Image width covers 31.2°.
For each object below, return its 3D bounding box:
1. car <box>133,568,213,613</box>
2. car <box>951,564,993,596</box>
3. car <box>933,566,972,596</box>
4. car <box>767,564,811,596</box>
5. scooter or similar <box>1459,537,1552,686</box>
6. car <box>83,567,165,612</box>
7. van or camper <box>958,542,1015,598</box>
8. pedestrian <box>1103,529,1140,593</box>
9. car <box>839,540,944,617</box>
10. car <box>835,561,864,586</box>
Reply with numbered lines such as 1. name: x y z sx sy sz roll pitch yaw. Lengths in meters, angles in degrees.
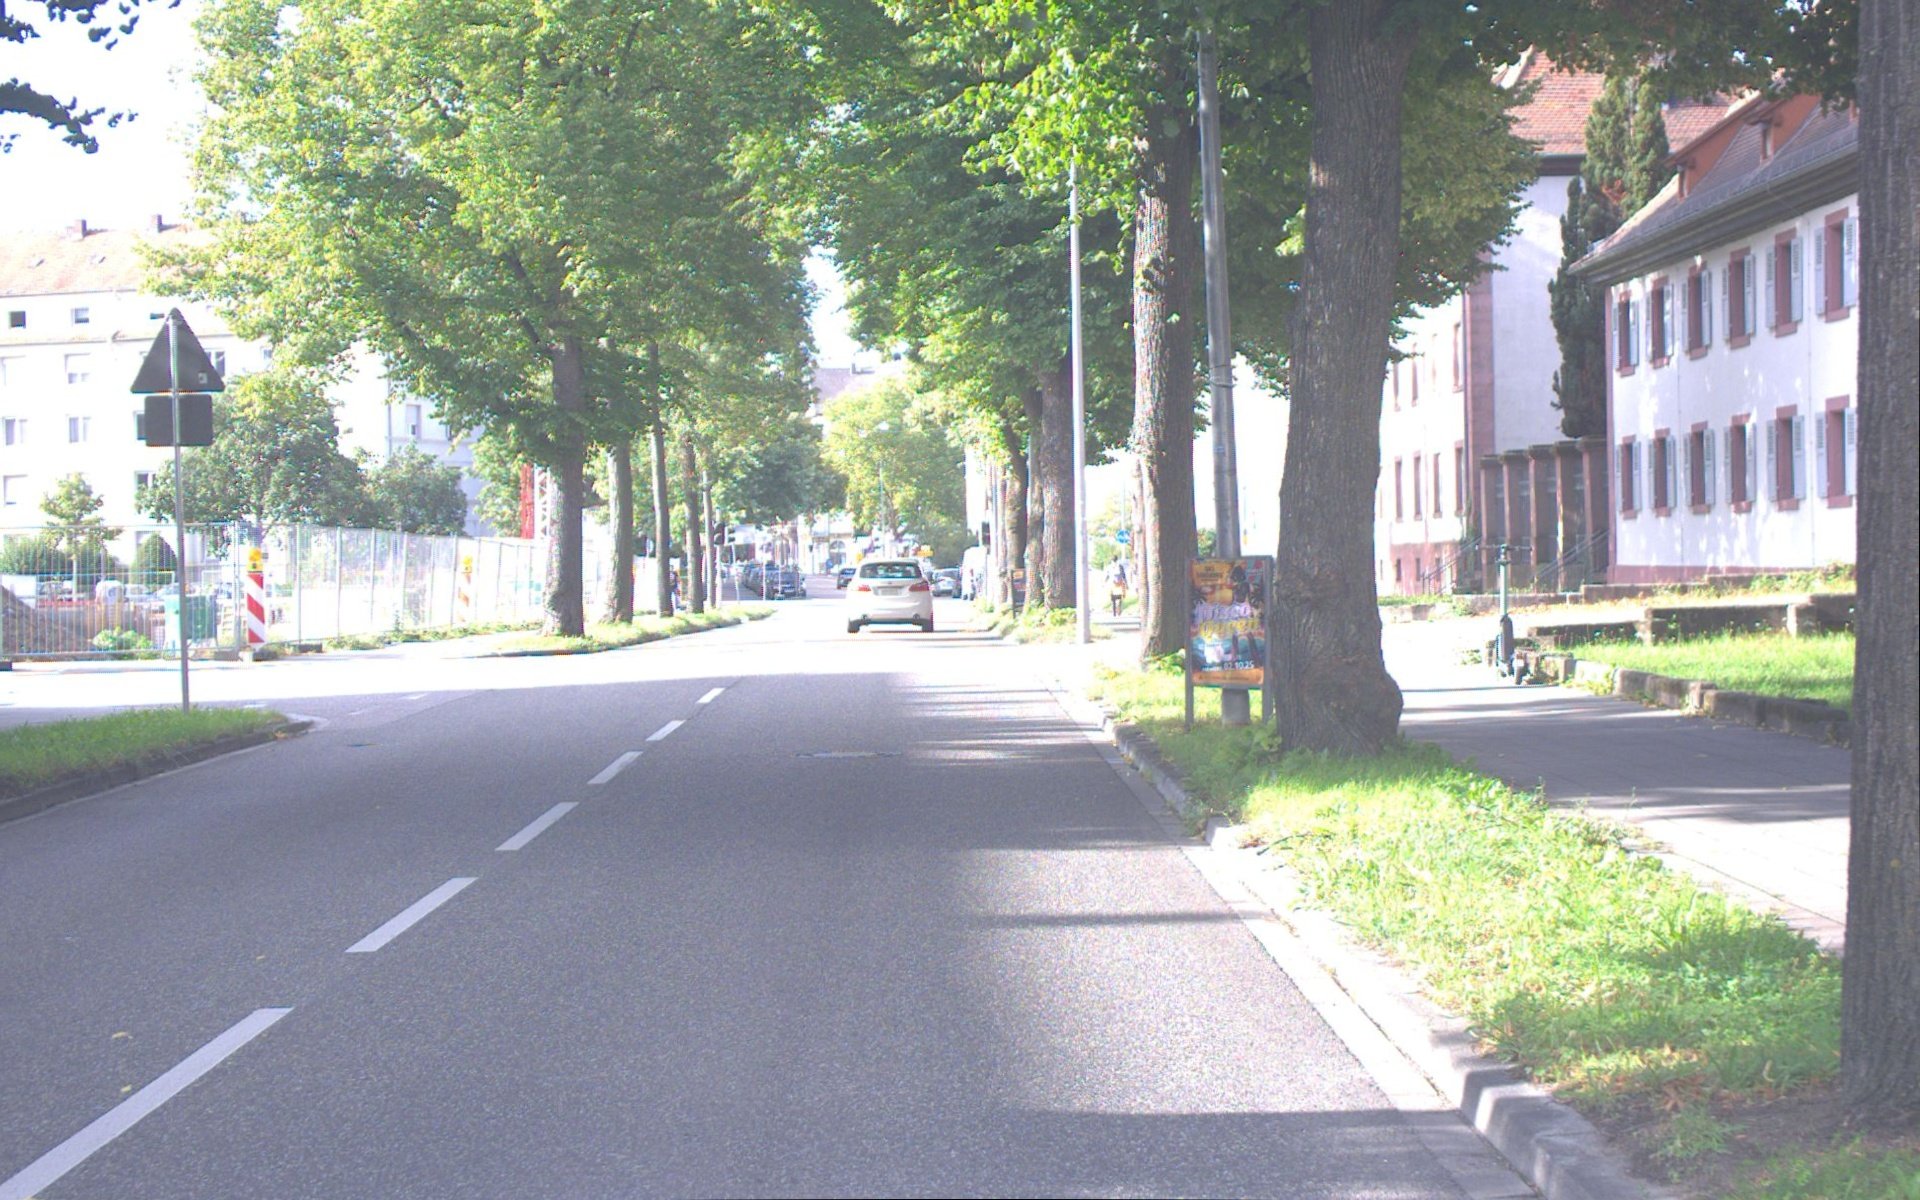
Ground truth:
1. car: -36.485 -0.455 159.480 1.995 2.007 3.997 -1 1 14
2. car: 0.588 -1.032 175.673 1.993 1.568 4.000 -2 1 -2
3. car: -0.408 -1.053 186.222 1.993 1.568 4.000 -2 1 -2
4. car: -9.033 -1.072 181.028 1.993 1.634 4.001 -2 1 -7
5. scooter or similar: 4.907 0.090 31.005 0.579 1.287 1.381 -3 1 1
6. car: -38.913 -0.485 160.077 1.995 2.007 3.997 -1 1 14
7. van or camper: 1.246 -1.440 164.744 2.209 2.598 5.372 -2 1 -5
8. pedestrian: 4.119 -1.005 87.861 0.814 1.585 0.769 -3 0 -1
9. car: -1.473 -0.439 72.178 1.993 1.549 4.274 0 0 -4
10. car: -7.968 -1.896 248.227 1.993 1.749 4.000 0 0 0
